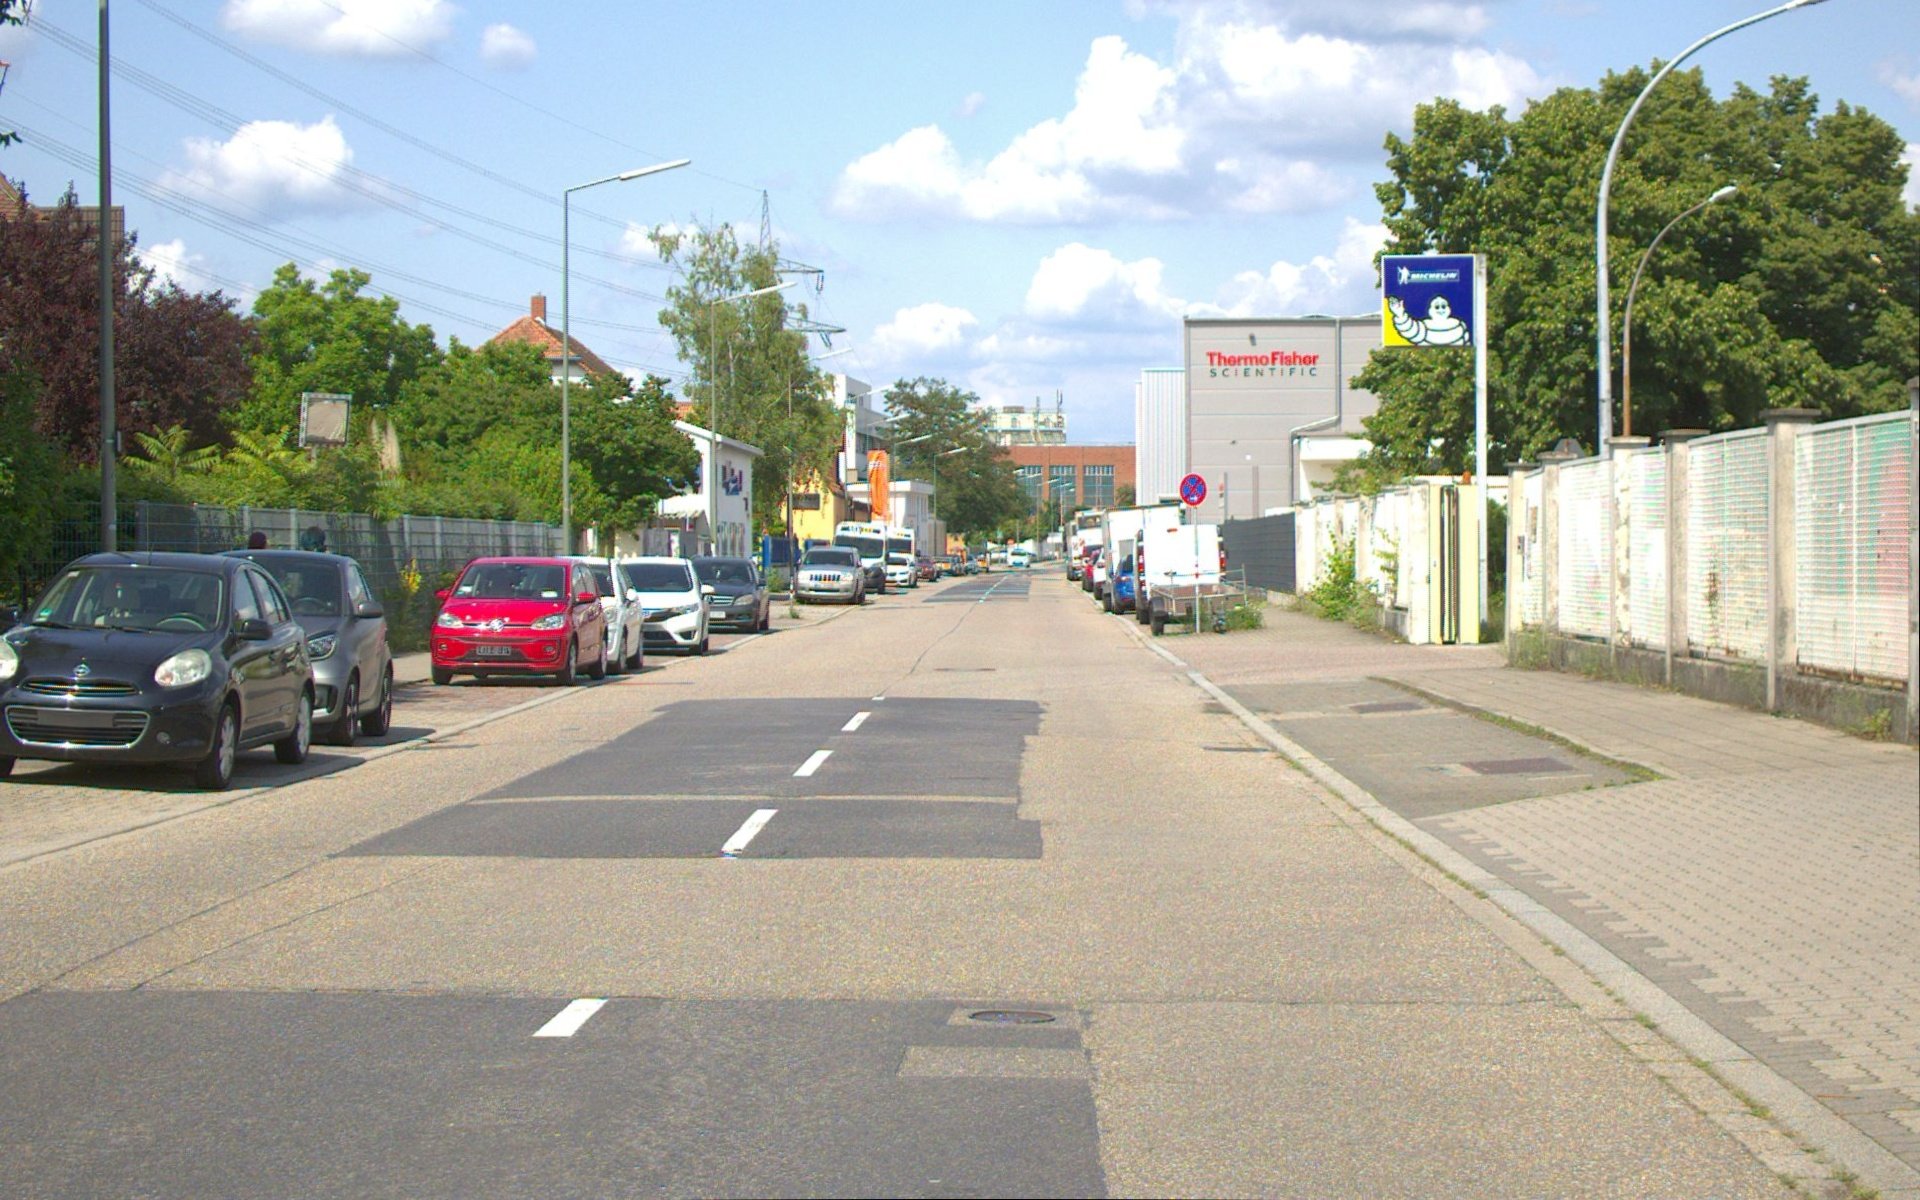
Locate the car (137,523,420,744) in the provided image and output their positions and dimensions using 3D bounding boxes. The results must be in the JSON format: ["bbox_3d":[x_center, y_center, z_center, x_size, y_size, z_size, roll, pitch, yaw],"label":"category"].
[{"bbox_3d":[-5.568,0.235,28.424,1.650,1.640,3.274,3,1,-1],"label":"car"}]

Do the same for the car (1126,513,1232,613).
[{"bbox_3d":[4.605,-0.787,72.984,1.993,2.007,5.649,-1,1,1],"label":"car"}]

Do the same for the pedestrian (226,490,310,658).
[{"bbox_3d":[-7.445,-0.279,37.025,0.708,1.795,0.916,0,0,1],"label":"pedestrian"}]

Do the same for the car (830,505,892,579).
[{"bbox_3d":[-3.586,-2.105,126.082,2.030,2.549,6.657,2,0,0],"label":"car"}]

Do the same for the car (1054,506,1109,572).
[{"bbox_3d":[6.538,-3.272,185.670,2.388,3.351,6.646,-3,1,-1],"label":"car"}]

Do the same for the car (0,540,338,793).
[{"bbox_3d":[-5.623,0.383,23.592,1.845,1.503,4.000,3,1,1],"label":"car"}]

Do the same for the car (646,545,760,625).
[{"bbox_3d":[-4.895,-0.317,65.964,1.805,1.414,4.497,2,1,0],"label":"car"}]

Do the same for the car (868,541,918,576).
[{"bbox_3d":[-2.822,-1.745,145.822,1.796,1.392,4.501,1,0,3],"label":"car"}]

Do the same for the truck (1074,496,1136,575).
[{"bbox_3d":[6.485,-2.883,154.484,2.458,3.282,6.817,-5,0,2],"label":"truck"}]

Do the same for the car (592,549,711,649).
[{"bbox_3d":[-4.836,-0.046,54.345,1.620,1.517,4.176,0,1,-2],"label":"car"}]

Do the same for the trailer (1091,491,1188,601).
[{"bbox_3d":[4.757,-1.425,91.938,2.204,2.727,6.222,-3,0,1],"label":"trailer"}]

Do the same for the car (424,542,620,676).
[{"bbox_3d":[-5.101,0.082,40.474,1.666,1.462,3.743,1,0,2],"label":"car"}]

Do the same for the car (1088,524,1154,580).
[{"bbox_3d":[5.152,-1.551,110.357,1.935,1.688,4.680,-3,1,1],"label":"car"}]

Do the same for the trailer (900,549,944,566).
[{"bbox_3d":[-2.247,-2.503,203.456,2.362,0.890,5.569,2,0,1],"label":"trailer"}]

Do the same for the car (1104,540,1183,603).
[{"bbox_3d":[4.535,-0.704,85.311,1.690,1.456,4.071,-3,0,0],"label":"car"}]

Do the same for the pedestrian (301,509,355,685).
[{"bbox_3d":[-6.866,-0.035,37.355,0.450,1.887,0.677,0,0,1],"label":"pedestrian"}]

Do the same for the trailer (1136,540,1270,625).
[{"bbox_3d":[4.379,-0.317,62.577,1.749,1.412,4.550,-3,0,-4],"label":"trailer"}]

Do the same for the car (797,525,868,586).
[{"bbox_3d":[-3.805,-1.335,103.383,1.791,1.713,4.751,2,1,1],"label":"car"}]

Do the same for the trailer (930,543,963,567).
[{"bbox_3d":[-0.881,-2.958,224.445,1.993,1.551,4.253,0,1,1],"label":"trailer"}]

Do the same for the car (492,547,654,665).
[{"bbox_3d":[-5.044,0.059,45.259,1.645,1.472,4.029,0,0,1],"label":"car"}]
